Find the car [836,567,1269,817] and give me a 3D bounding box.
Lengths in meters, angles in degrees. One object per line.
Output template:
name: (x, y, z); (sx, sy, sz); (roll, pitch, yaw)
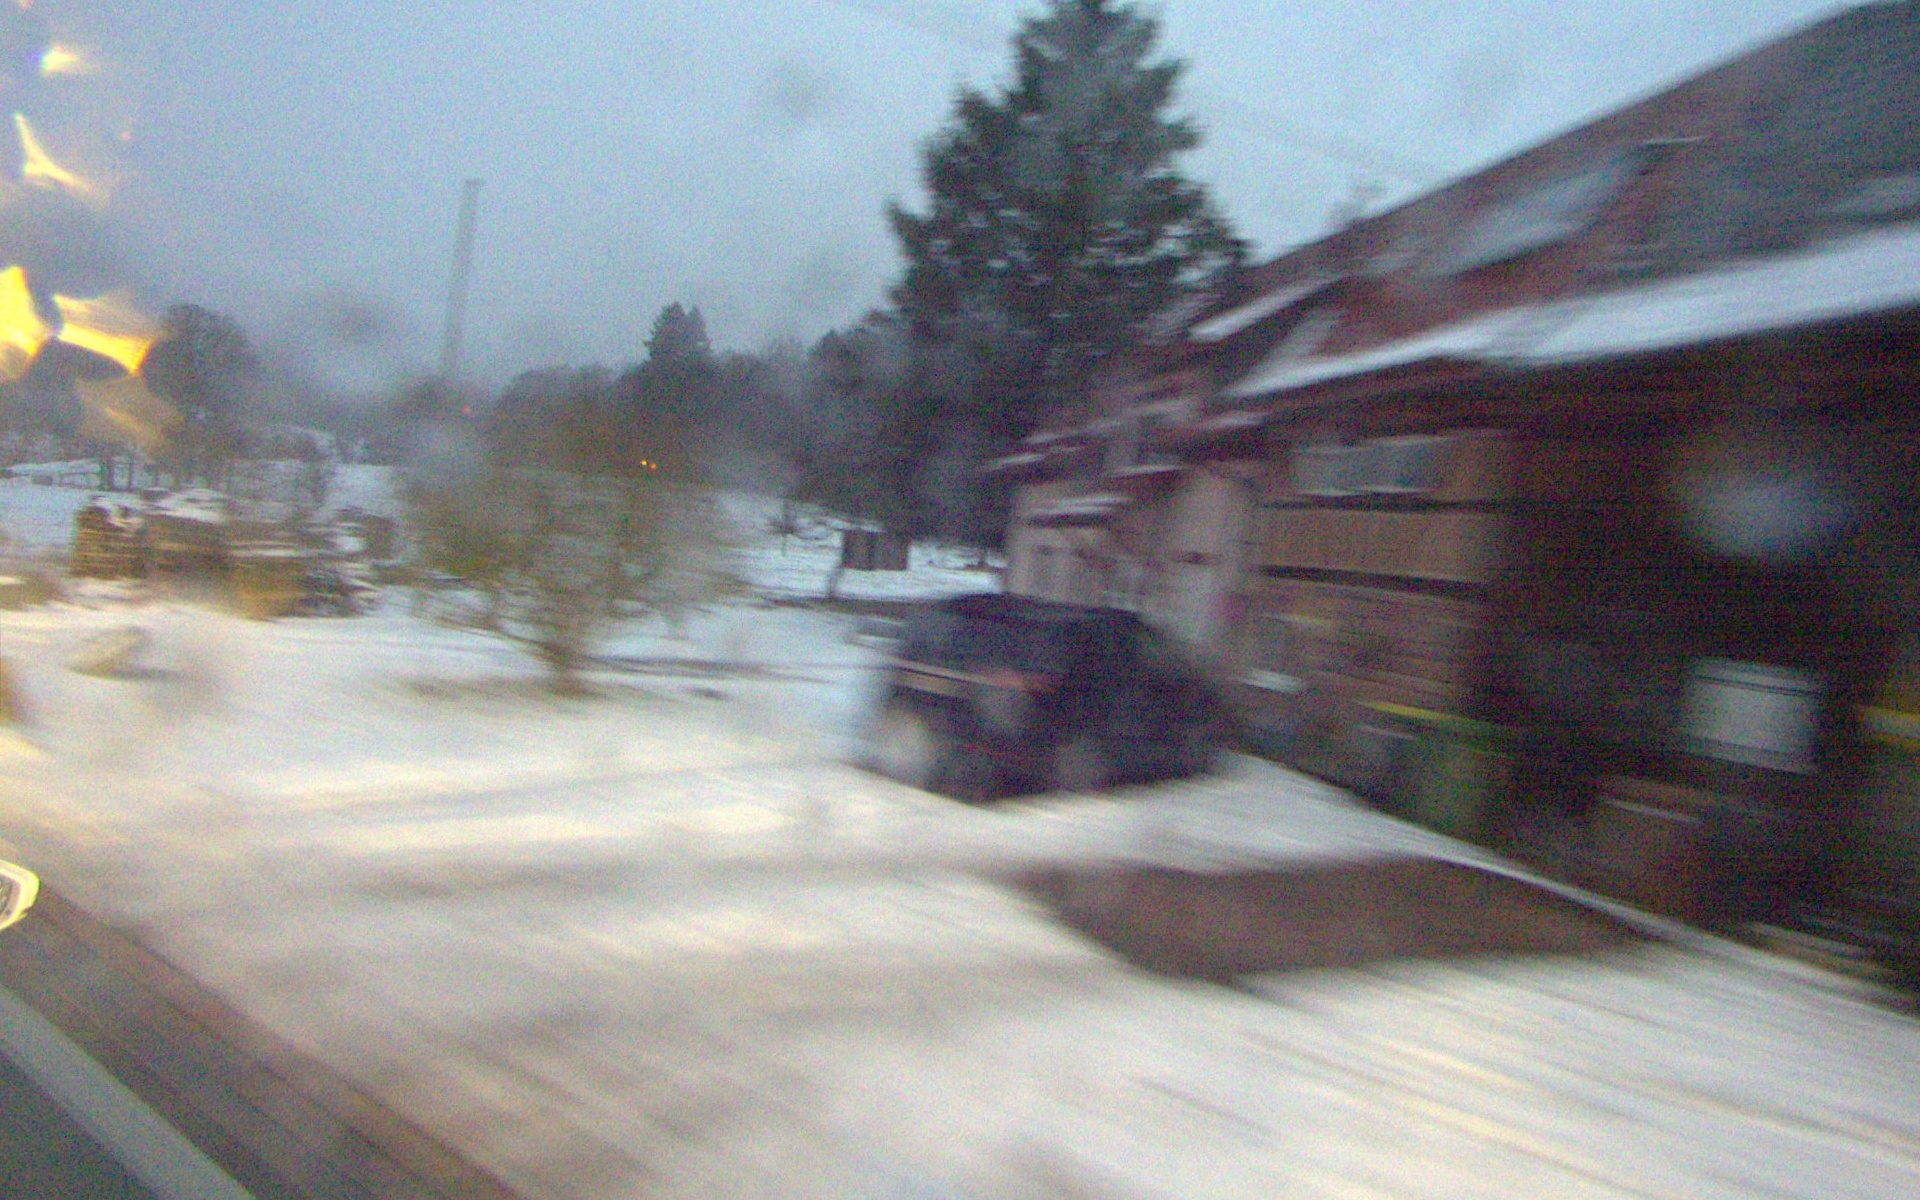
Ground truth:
car: (1.115, 0.804, 9.567); (1.834, 1.678, 4.391); (8, 1, 39)
